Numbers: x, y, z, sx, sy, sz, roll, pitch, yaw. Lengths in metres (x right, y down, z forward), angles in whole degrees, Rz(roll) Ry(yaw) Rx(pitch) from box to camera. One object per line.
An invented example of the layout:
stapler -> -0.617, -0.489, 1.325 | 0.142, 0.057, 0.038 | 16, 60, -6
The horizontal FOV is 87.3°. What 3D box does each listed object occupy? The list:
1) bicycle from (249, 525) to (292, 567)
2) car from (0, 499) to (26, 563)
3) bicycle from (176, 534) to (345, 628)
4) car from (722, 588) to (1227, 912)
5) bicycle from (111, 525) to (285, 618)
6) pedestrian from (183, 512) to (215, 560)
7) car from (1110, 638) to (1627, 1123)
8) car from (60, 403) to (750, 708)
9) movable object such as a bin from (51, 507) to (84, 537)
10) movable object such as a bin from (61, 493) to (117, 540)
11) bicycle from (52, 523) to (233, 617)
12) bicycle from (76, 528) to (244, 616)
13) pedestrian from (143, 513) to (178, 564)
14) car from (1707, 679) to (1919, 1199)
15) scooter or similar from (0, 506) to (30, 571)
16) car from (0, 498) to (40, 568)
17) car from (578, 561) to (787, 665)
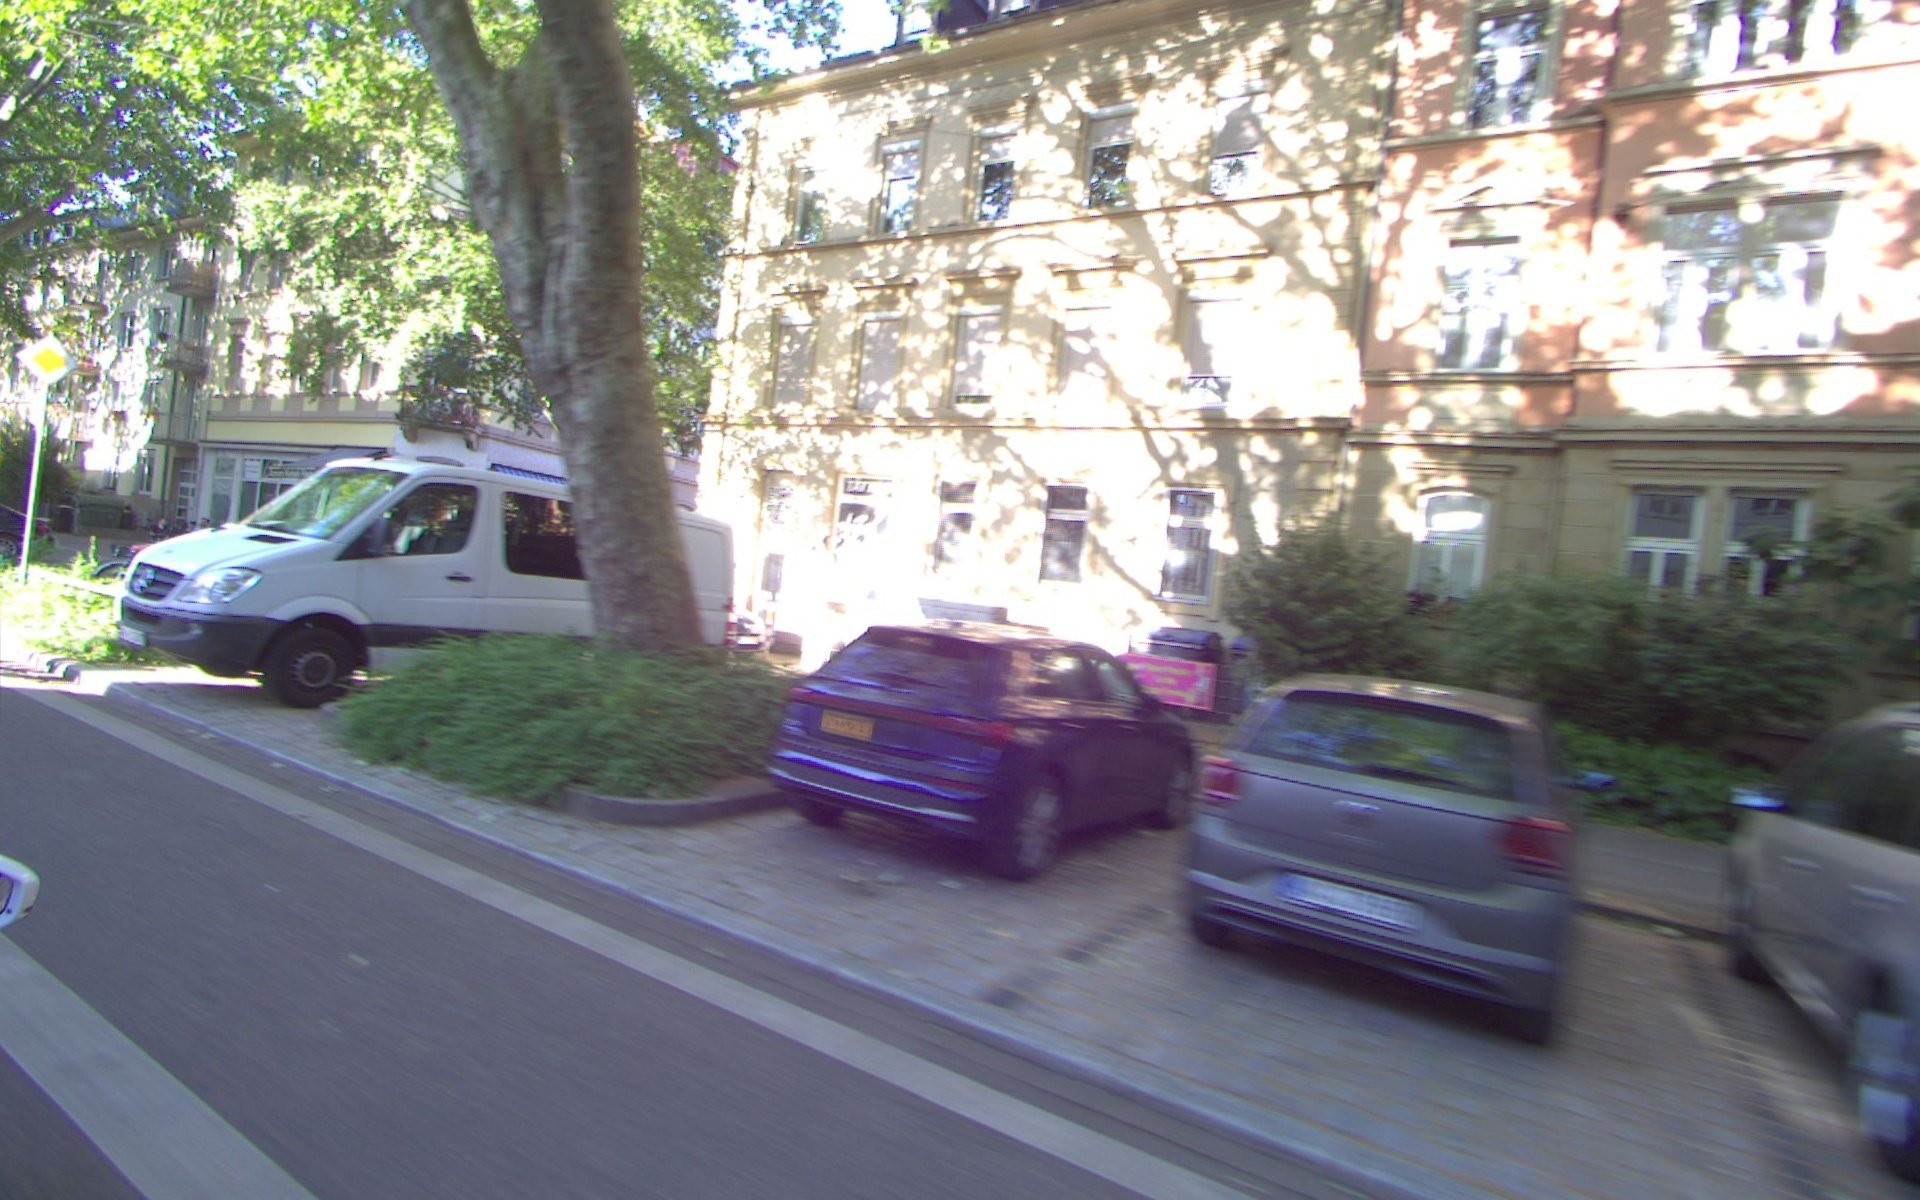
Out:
bicycle -> -22.424, -1.756, 32.701 | 1.717, 1.171, 0.470 | 8, 3, 33
car -> -24.985, -1.908, 23.680 | 1.655, 1.509, 4.096 | 7, -1, 36
bicycle -> -10.749, -0.272, 15.525 | 2.032, 1.193, 0.409 | 8, -1, -38
car -> 0.432, 0.891, 7.278 | 1.766, 1.478, 4.060 | 7, 0, 30
bicycle -> -11.793, -0.411, 15.646 | 0.407, 1.193, 2.040 | 6, -1, 40
pedestrian -> -22.621, -1.889, 29.914 | 0.479, 1.344, 0.683 | 7, 1, -21
car -> 2.515, 1.141, 5.673 | 1.766, 1.496, 3.959 | 7, 0, 32
car -> -5.205, -0.215, 10.632 | 1.973, 2.310, 5.996 | 8, 0, 33
movable object such as a bin -> -32.137, -2.797, 36.210 | 0.458, 0.955, 0.748 | 7, 2, 32
movable object such as a bin -> -30.572, -2.922, 35.318 | 1.099, 1.456, 1.167 | 7, 2, 32
bicycle -> -12.539, -0.431, 15.495 | 0.407, 1.193, 2.040 | 6, -1, 40
bicycle -> -13.152, -0.434, 16.602 | 0.407, 1.193, 2.040 | 6, -1, 40
pedestrian -> -23.128, -1.783, 29.104 | 0.480, 1.392, 1.049 | 6, 0, -27
car -> 4.539, 1.272, 4.069 | 1.765, 1.676, 3.961 | 6, -1, 29
scooter or similar -> -19.873, -1.310, 20.455 | 1.303, 1.271, 0.337 | 7, 0, -45
car -> -23.045, -1.728, 21.836 | 1.800, 1.509, 4.103 | 7, -1, 30
car -> -5.317, 0.250, 19.263 | 3.509, 1.472, 1.737 | 7, -2, 29
